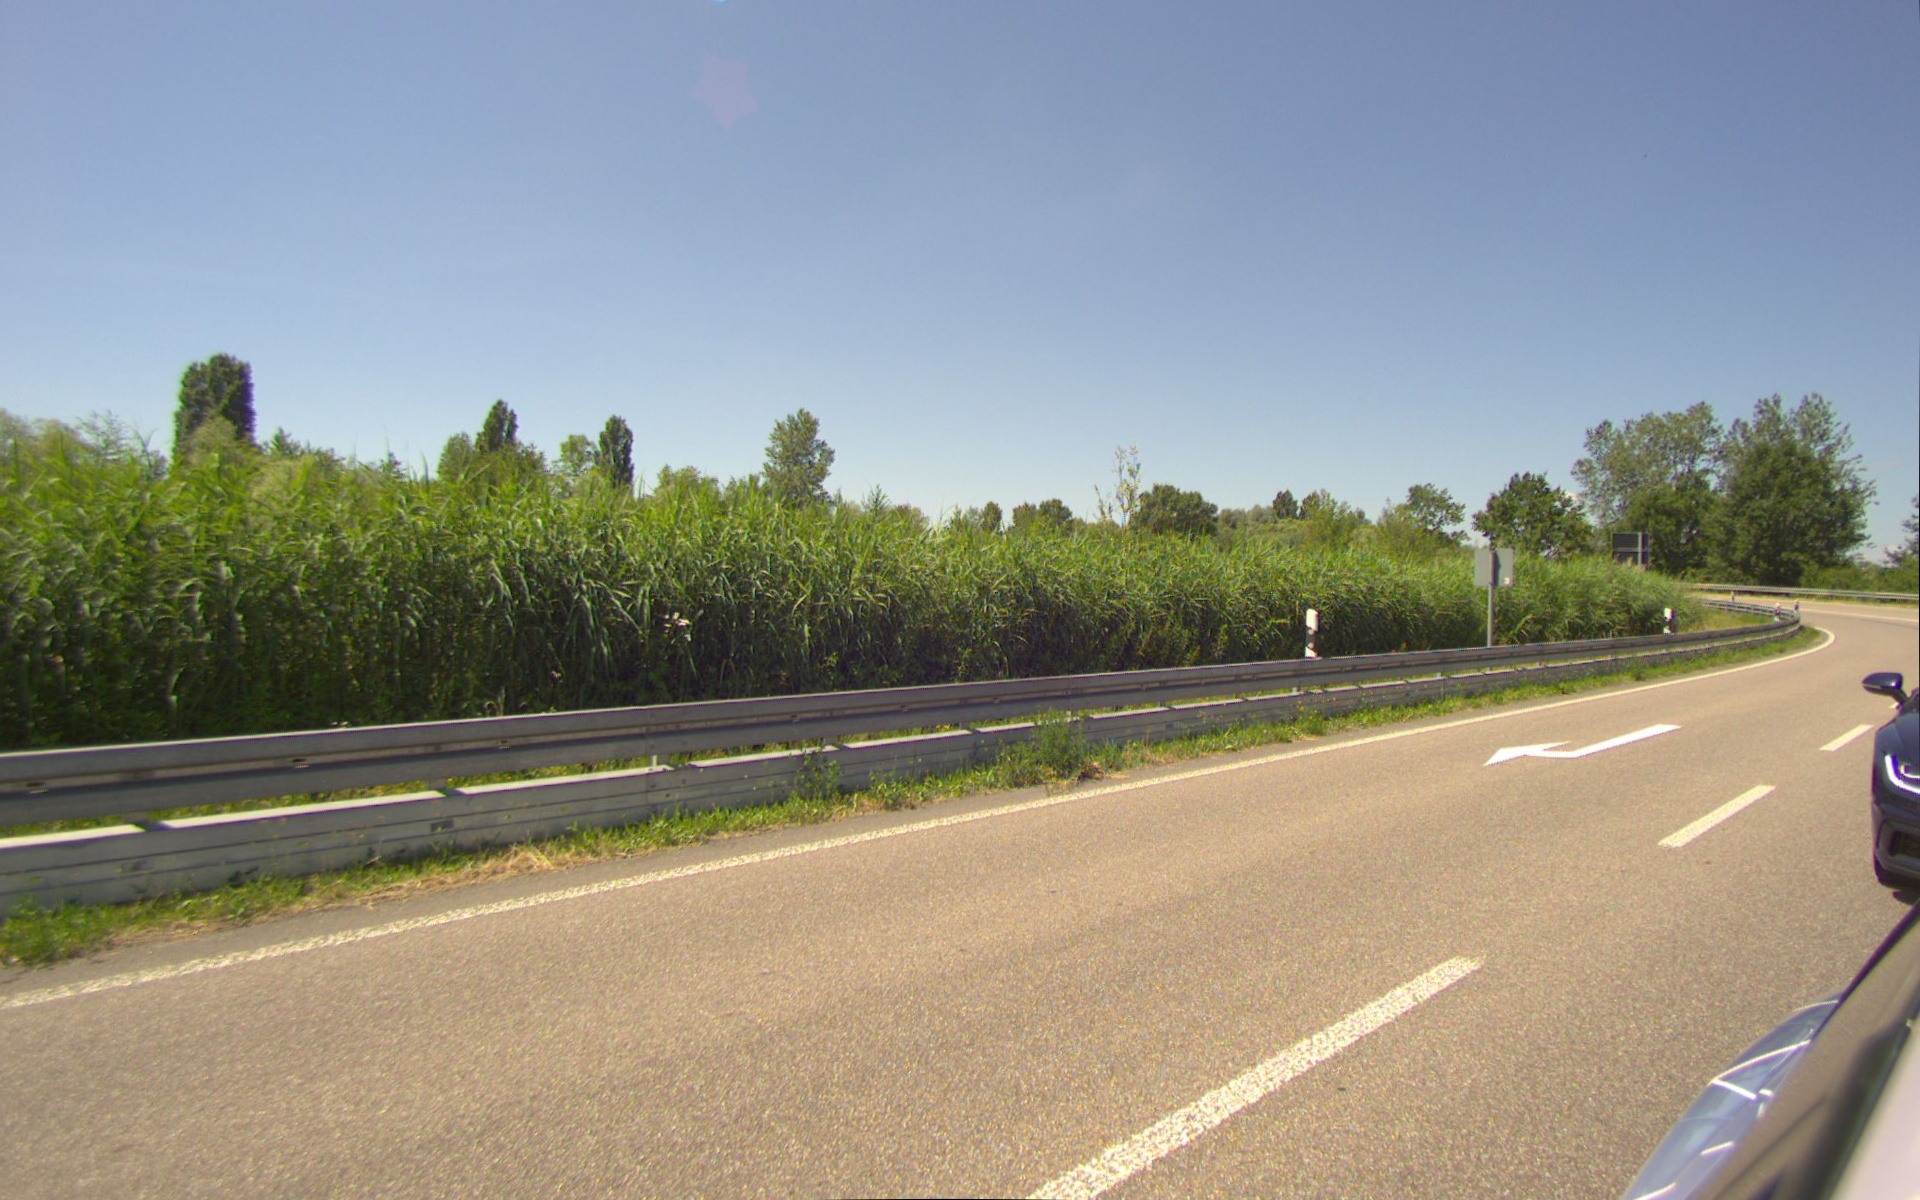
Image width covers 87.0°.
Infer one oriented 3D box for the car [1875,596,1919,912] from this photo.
[{"bbox_3d":[6.330,0.695,5.372,3.931,1.427,1.759,-1,1,-41],"label":"car"}]
